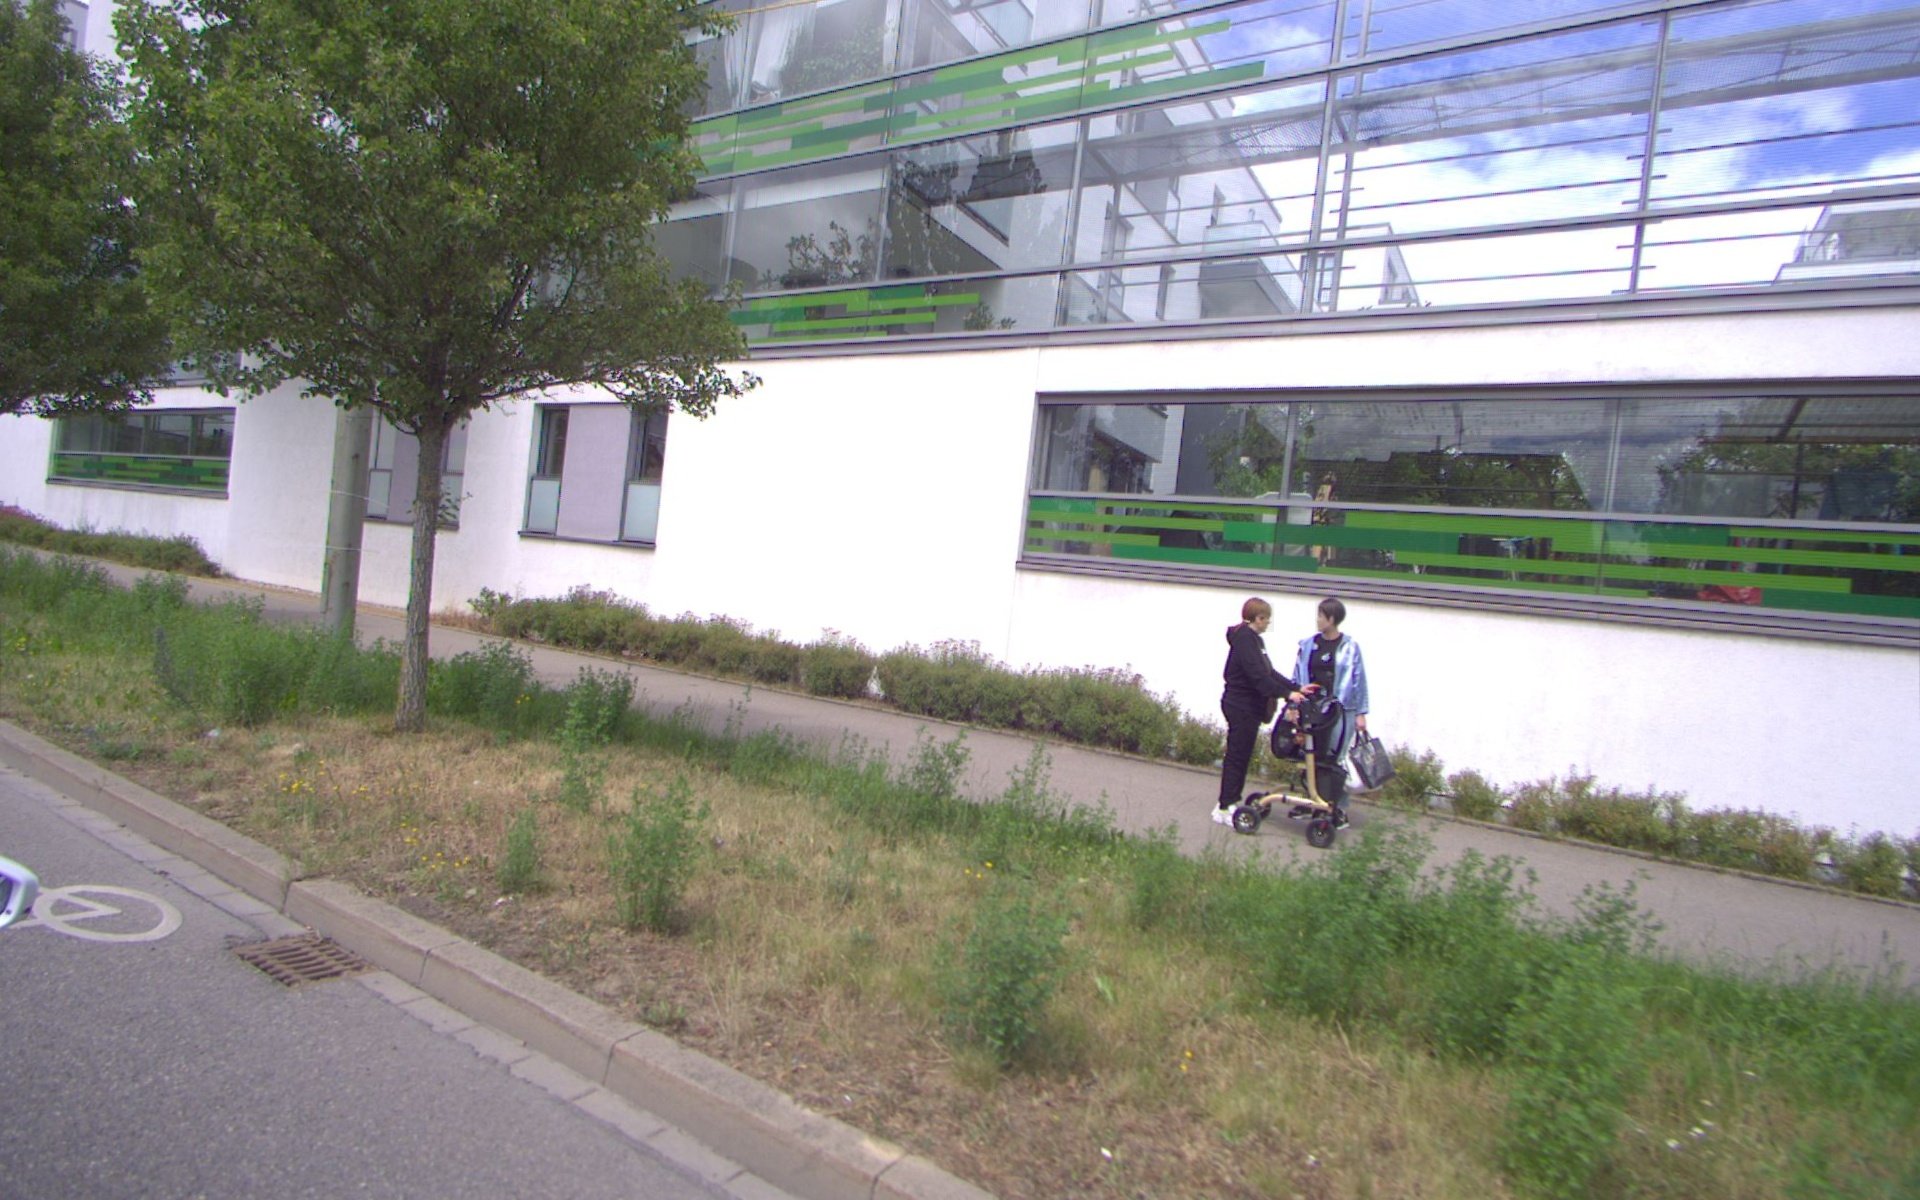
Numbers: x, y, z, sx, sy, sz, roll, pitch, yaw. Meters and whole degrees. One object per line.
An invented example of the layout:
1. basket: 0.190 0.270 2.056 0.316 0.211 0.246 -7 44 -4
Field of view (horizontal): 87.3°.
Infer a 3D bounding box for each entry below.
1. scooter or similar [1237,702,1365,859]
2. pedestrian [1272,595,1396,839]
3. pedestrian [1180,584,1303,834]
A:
1. scooter or similar: 2.350 1.216 6.932 0.670 0.917 0.422 7 2 32
2. pedestrian: 2.777 0.838 7.458 0.597 1.676 0.550 7 2 31
3. pedestrian: 2.044 0.760 7.282 0.543 1.676 0.605 7 2 31
